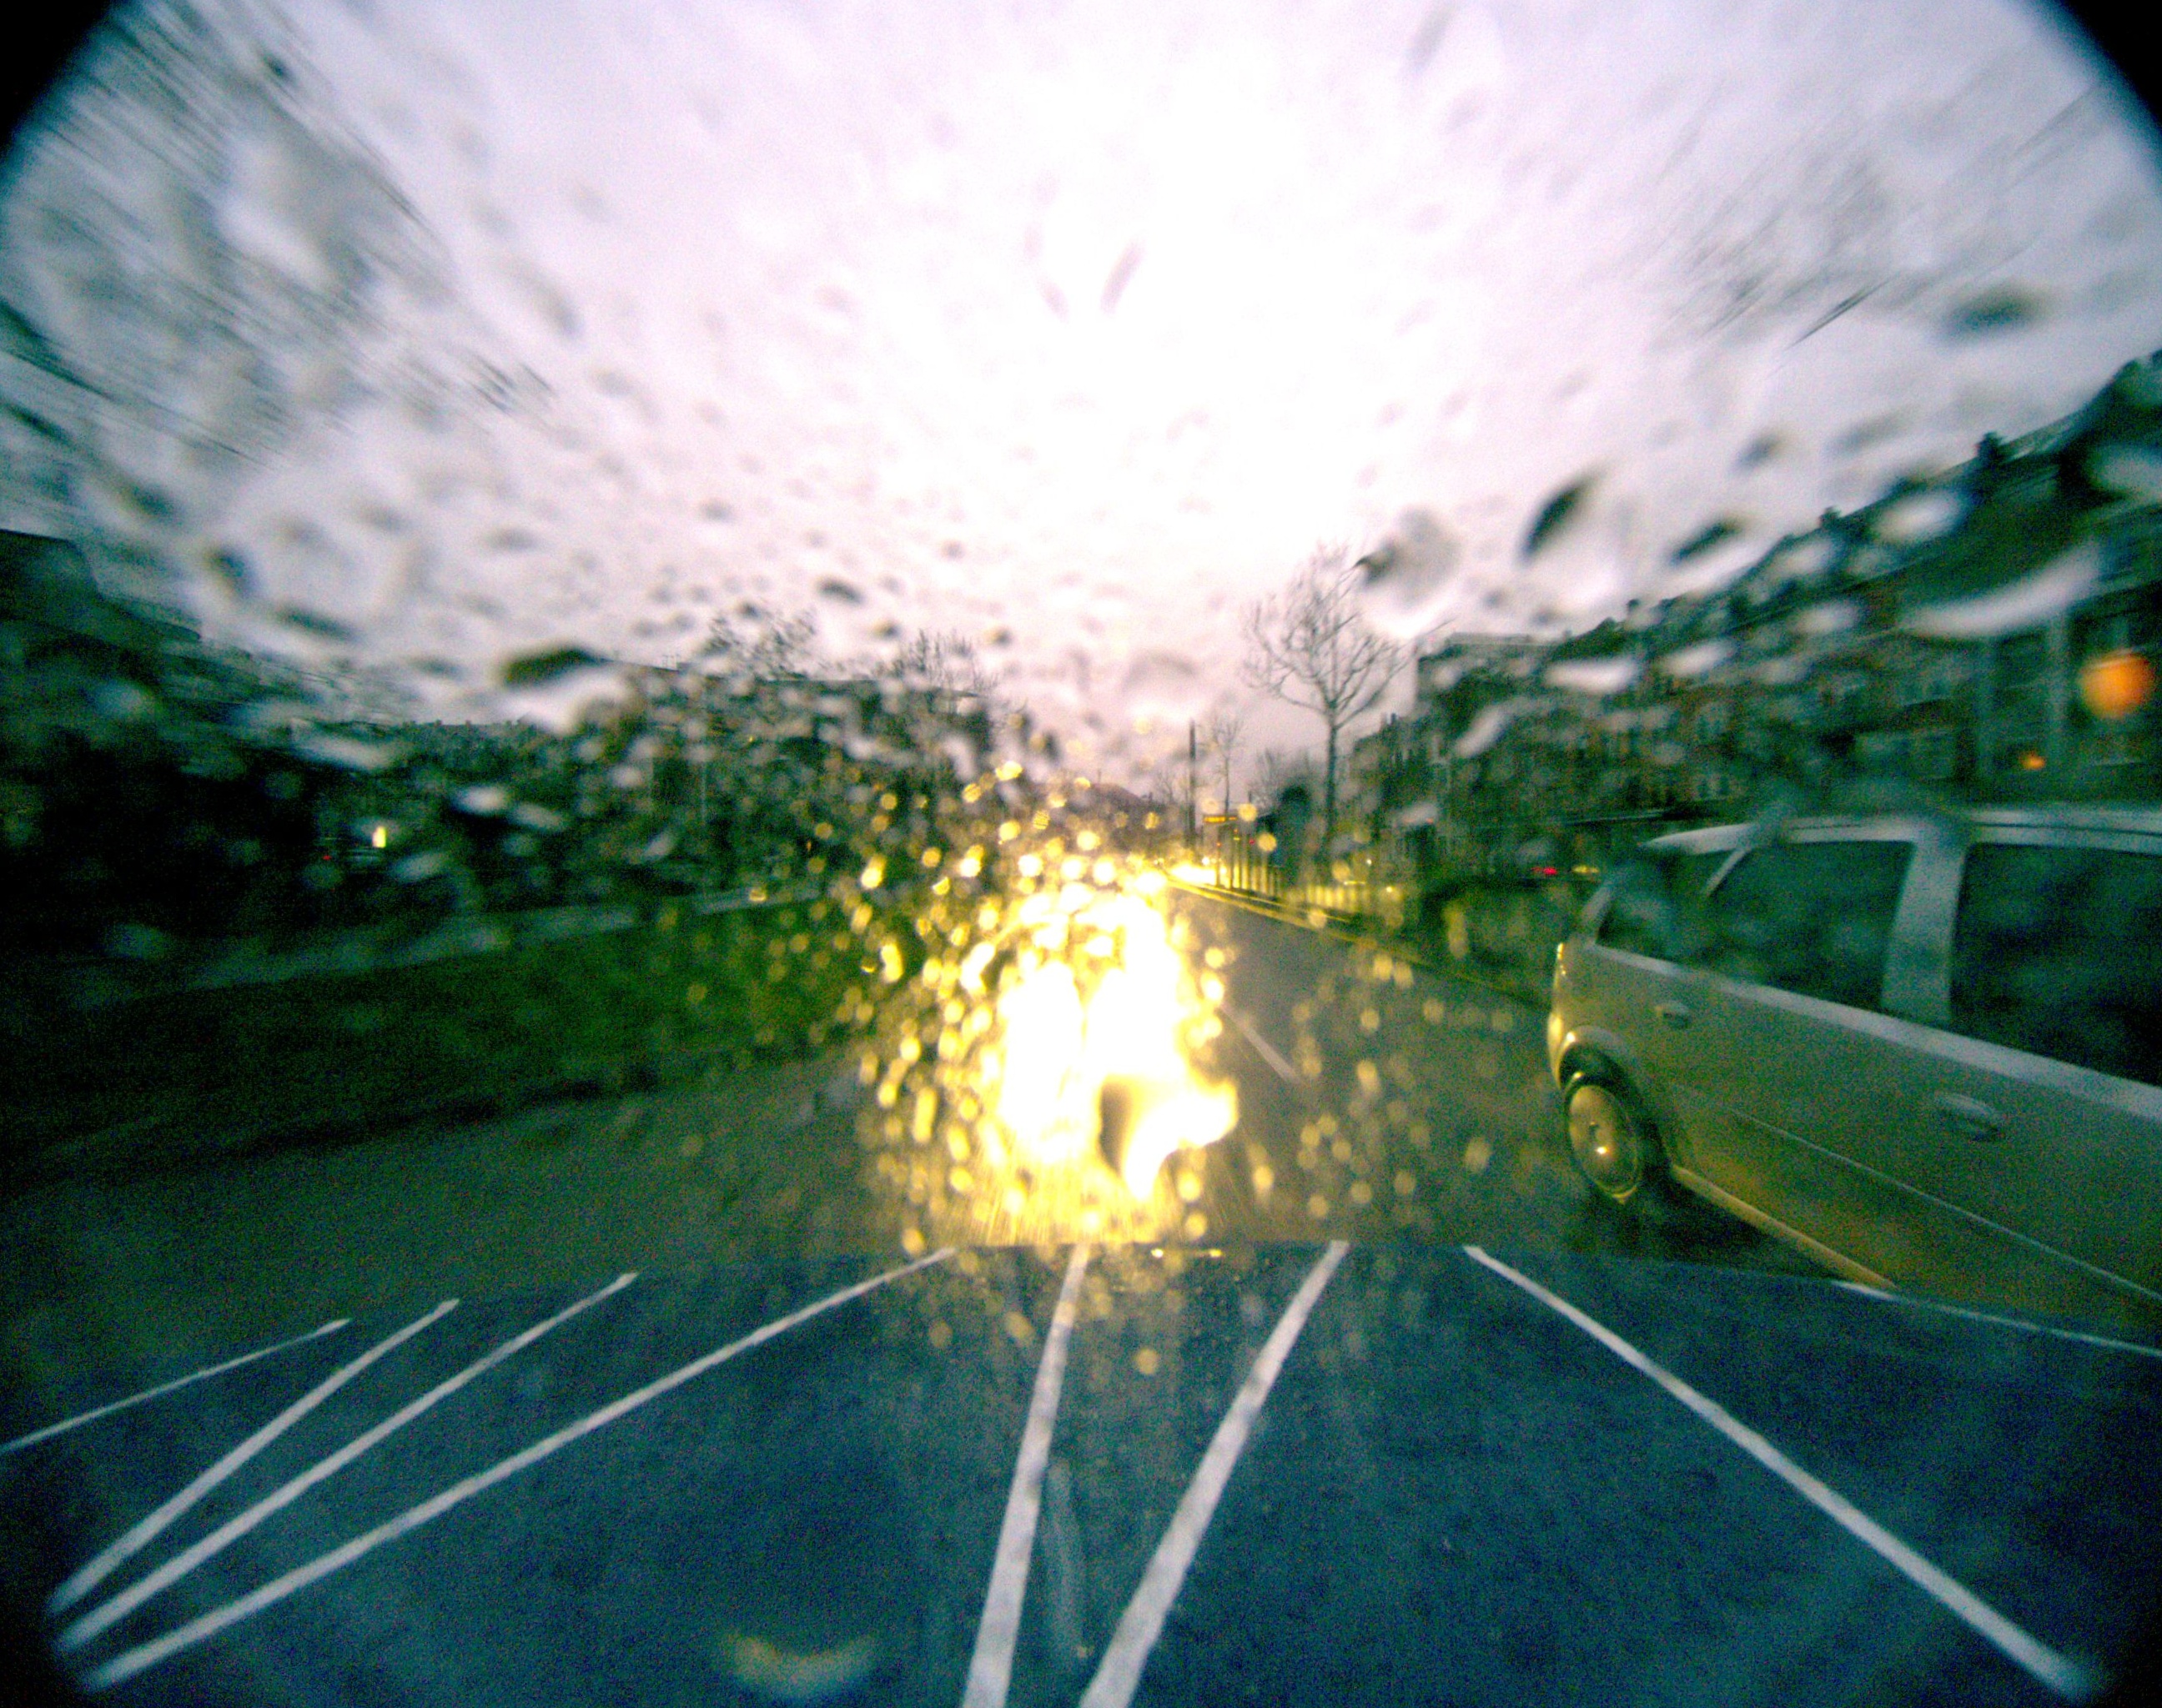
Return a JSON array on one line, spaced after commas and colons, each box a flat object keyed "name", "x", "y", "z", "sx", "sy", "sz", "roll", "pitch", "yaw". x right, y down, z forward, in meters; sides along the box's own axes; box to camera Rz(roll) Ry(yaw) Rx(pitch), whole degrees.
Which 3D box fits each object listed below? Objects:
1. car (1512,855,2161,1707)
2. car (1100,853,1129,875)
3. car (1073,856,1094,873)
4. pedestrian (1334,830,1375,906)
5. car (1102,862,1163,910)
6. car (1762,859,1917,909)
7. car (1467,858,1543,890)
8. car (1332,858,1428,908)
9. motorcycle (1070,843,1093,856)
[{"name": "car", "x": 2.950, "y": 0.825, "z": 1.538, "sx": 1.814, "sy": 1.591, "sz": 4.053, "roll": -1, "pitch": 0, "yaw": 0}, {"name": "car", "x": 2.180, "y": 0.627, "z": 50.333, "sx": 1.813, "sy": 1.384, "sz": 4.053, "roll": -1, "pitch": 0, "yaw": 1}, {"name": "car", "x": 0.245, "y": 0.922, "z": 66.345, "sx": 1.813, "sy": 1.384, "sz": 4.053, "roll": -1, "pitch": 0, "yaw": 1}, {"name": "pedestrian", "x": 7.499, "y": 0.373, "z": 20.870, "sx": 0.876, "sy": 2.002, "sz": 0.931, "roll": 1, "pitch": 1, "yaw": 12}, {"name": "car", "x": 1.635, "y": 1.018, "z": 25.416, "sx": 1.813, "sy": 1.384, "sz": 4.053, "roll": -1, "pitch": 0, "yaw": 1}, {"name": "car", "x": 24.035, "y": 0.899, "z": 24.249, "sx": 1.682, "sy": 1.399, "sz": 3.259, "roll": 1, "pitch": 0, "yaw": 1}, {"name": "car", "x": 22.123, "y": 1.008, "z": 39.793, "sx": 1.683, "sy": 1.525, "sz": 3.748, "roll": 1, "pitch": 0, "yaw": -3}, {"name": "car", "x": 9.864, "y": 0.917, "z": 25.407, "sx": 1.667, "sy": 1.477, "sz": 4.000, "roll": 1, "pitch": 0, "yaw": 1}, {"name": "motorcycle", "x": 0.110, "y": -0.815, "z": 131.188, "sx": 3.997, "sy": 2.002, "sz": 0.926, "roll": -2, "pitch": 1, "yaw": 1}]
